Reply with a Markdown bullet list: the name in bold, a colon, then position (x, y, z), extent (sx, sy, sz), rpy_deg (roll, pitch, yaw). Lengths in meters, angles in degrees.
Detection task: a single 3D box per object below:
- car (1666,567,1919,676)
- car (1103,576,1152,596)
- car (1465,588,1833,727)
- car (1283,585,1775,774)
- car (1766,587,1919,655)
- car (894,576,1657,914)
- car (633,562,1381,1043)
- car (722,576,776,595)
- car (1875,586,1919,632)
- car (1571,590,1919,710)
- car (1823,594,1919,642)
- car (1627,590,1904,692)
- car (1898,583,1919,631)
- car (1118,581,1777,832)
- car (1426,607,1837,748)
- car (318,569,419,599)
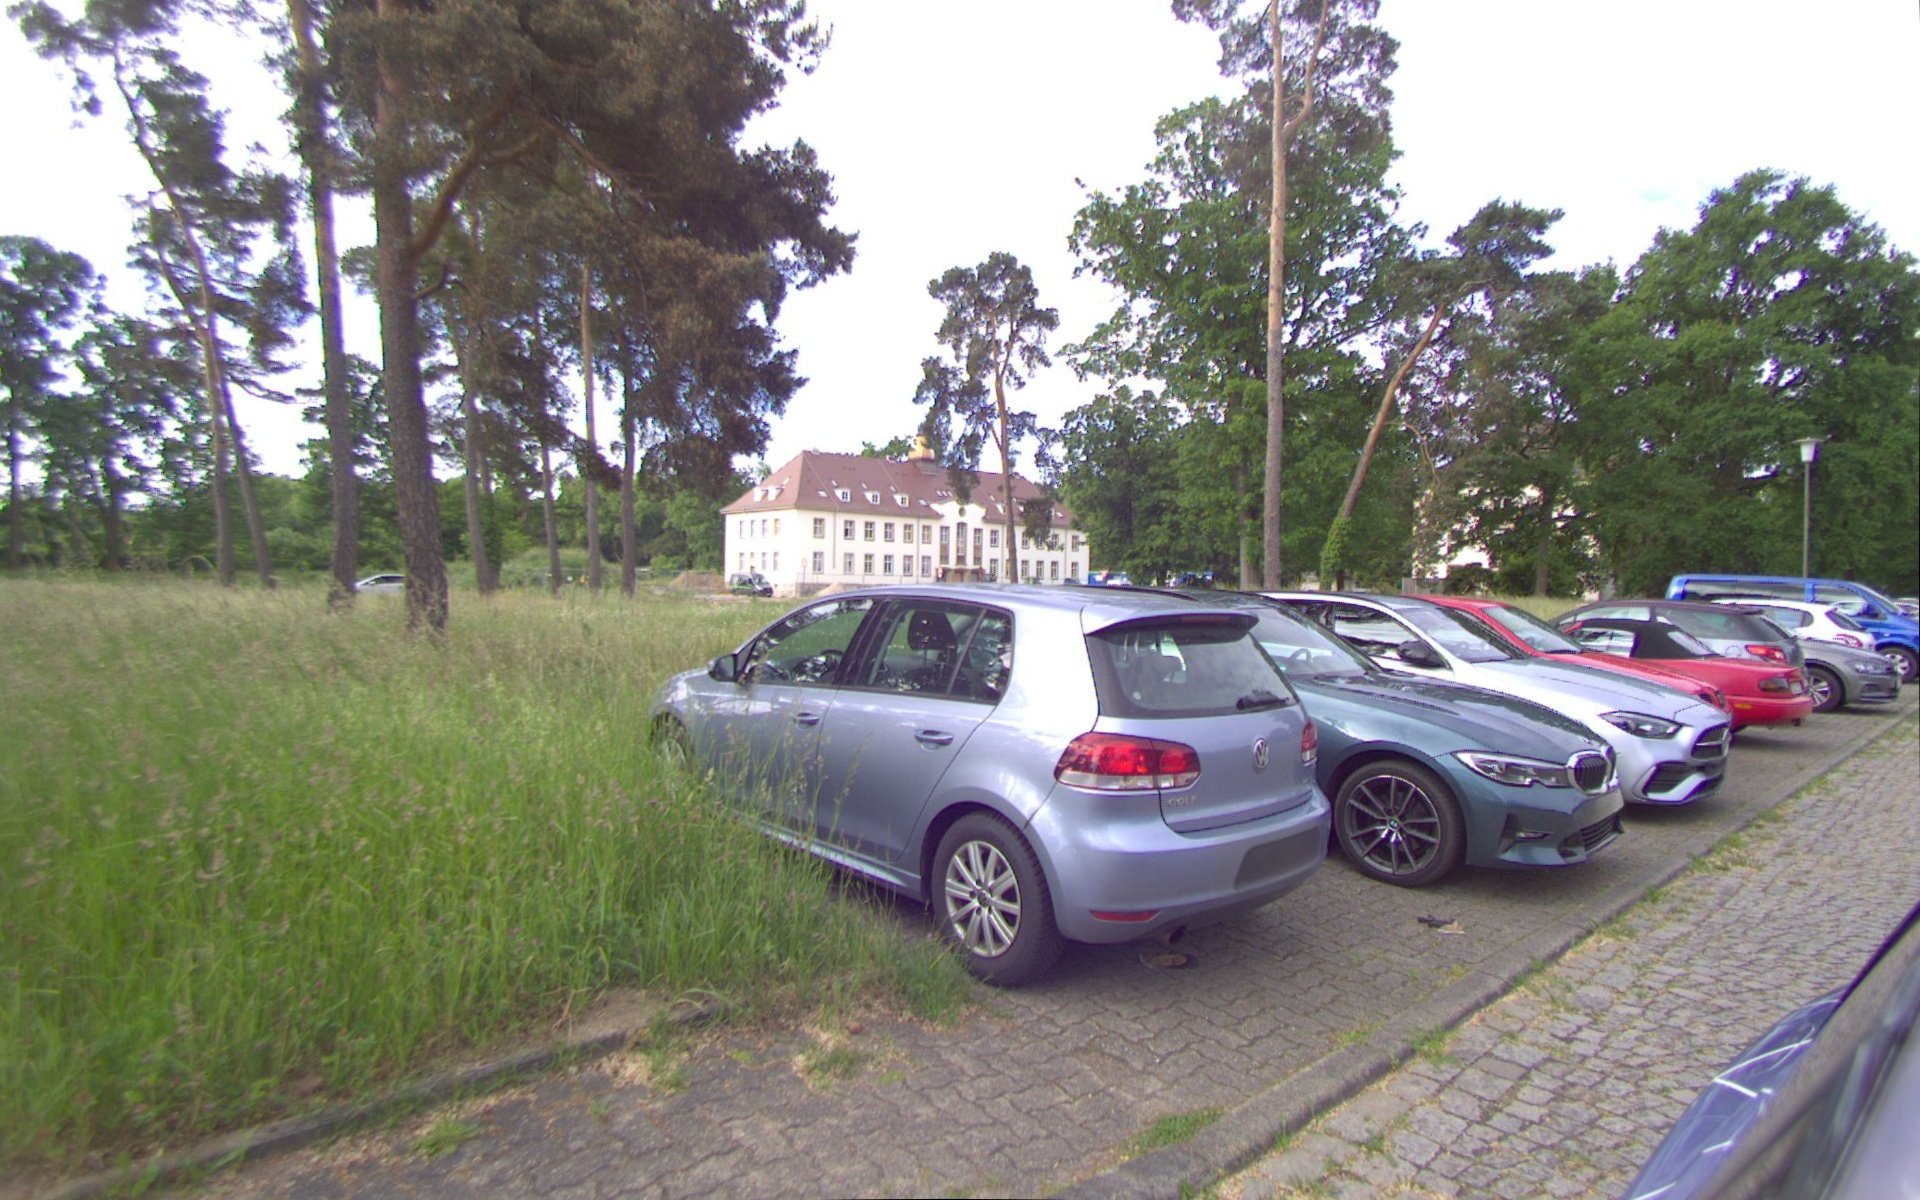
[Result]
- **car**: position (17.487, 0.356, 20.610), extent (1.965, 1.963, 4.746), rpy_deg (0, 2, -41)
- **car**: position (17.583, -1.496, 106.074), extent (5.129, 2.039, 2.154), rpy_deg (0, 1, -39)
- **car**: position (9.097, 0.640, 13.581), extent (1.769, 1.524, 3.781), rpy_deg (0, 1, -43)
- **car**: position (5.528, 0.616, 10.235), extent (1.768, 1.470, 3.969), rpy_deg (0, 1, -41)
- **car**: position (23.926, 0.522, 26.594), extent (1.965, 1.630, 3.995), rpy_deg (0, 1, -40)
- **car**: position (1.744, 0.620, 6.944), extent (1.732, 1.501, 4.761), rpy_deg (0, 1, -44)
- **car**: position (-0.098, 0.587, 5.107), extent (1.578, 1.444, 3.770), rpy_deg (1, 2, -41)
- **car**: position (-22.275, -1.507, 106.840), extent (6.169, 1.882, 2.305), rpy_deg (2, 1, 40)
- **car**: position (39.054, 0.389, 40.018), extent (1.964, 1.784, 4.006), rpy_deg (0, 1, -39)
- **car**: position (11.563, 0.621, 15.063), extent (1.787, 1.474, 3.849), rpy_deg (0, 1, -38)
- **car**: position (31.369, 0.574, 33.508), extent (1.965, 1.549, 3.994), rpy_deg (0, 0, -40)
- **car**: position (13.489, 0.609, 17.080), extent (1.608, 1.470, 3.407), rpy_deg (0, 1, -40)
- **car**: position (42.445, 0.320, 42.701), extent (1.964, 2.039, 3.996), rpy_deg (0, 1, -39)
- **car**: position (3.770, 0.623, 8.659), extent (1.780, 1.501, 4.766), rpy_deg (0, 1, -40)
- **car**: position (7.407, 0.750, 11.436), extent (1.468, 1.222, 3.599), rpy_deg (1, 1, -40)
- **car**: position (-29.667, -0.814, 50.837), extent (4.180, 1.433, 1.886), rpy_deg (-1, 2, -39)
